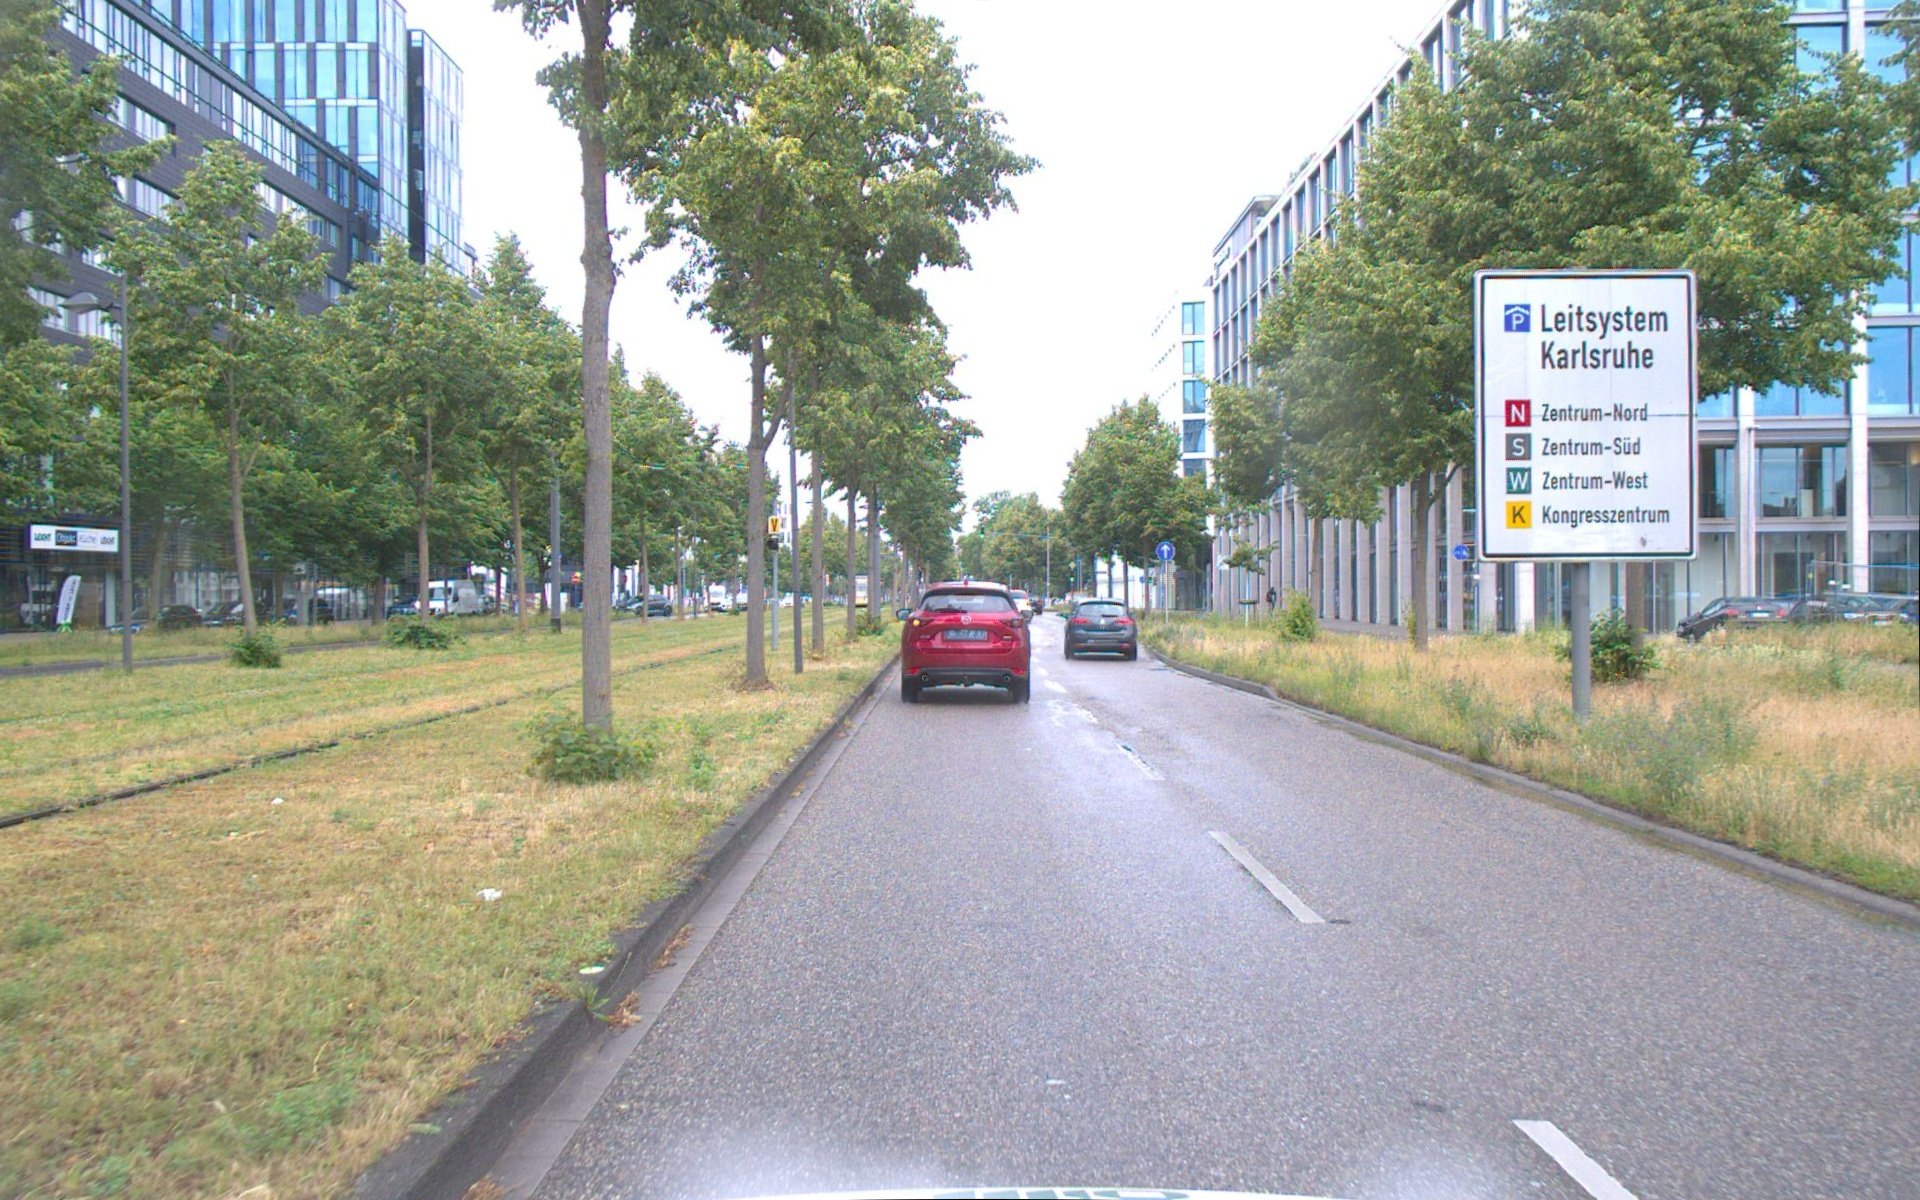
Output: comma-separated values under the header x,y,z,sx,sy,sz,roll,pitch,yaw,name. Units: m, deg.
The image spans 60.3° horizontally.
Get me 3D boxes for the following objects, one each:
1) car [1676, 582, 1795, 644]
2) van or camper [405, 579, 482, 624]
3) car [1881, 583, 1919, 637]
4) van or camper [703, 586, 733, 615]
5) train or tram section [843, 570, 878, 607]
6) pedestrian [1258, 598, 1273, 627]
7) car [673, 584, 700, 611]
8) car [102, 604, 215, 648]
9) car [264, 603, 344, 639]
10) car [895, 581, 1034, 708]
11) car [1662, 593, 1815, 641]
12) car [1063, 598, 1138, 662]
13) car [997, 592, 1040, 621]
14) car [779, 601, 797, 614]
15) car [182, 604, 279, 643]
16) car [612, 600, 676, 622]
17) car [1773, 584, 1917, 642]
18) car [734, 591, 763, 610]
x,y,z,sx,sy,sz,roll,pitch,yaw,name
21.357,0.337,45.718,1.815,1.608,4.003,0,0,7,car
-28.111,0.059,90.187,2.383,2.356,5.849,0,0,0,van or camper
27.011,0.266,45.094,1.816,1.480,4.002,0,0,5,car
-21.558,0.027,147.530,1.870,2.453,5.402,0,0,0,van or camper
-10.512,-1.175,175.875,3.065,3.723,13.405,0,0,0,train or tram section
18.471,0.759,100.038,0.702,1.744,0.861,-2,0,-1,pedestrian
-26.966,-0.245,163.186,2.211,2.606,4.651,0,0,-4,car
-27.454,0.868,56.792,1.953,1.402,4.000,0,0,0,car
-27.520,0.858,69.512,1.667,1.475,4.241,0,0,0,car
0.035,0.591,24.199,1.859,1.706,3.999,0,0,-1,car
25.658,0.549,54.607,4.129,1.463,1.982,0,2,5,car
3.382,0.697,40.412,1.707,1.490,3.783,0,0,3,car
2.986,0.320,85.847,1.928,1.462,4.551,1,0,-2,car
-19.698,0.841,189.711,1.675,1.429,4.000,0,0,0,car
-27.910,0.870,63.378,1.953,1.402,4.000,0,0,0,car
-22.613,0.753,118.527,1.956,1.548,4.672,0,0,30,car
24.075,0.333,45.193,1.816,1.480,4.560,0,0,5,car
-17.421,0.035,136.411,1.825,1.551,4.479,0,0,0,car
